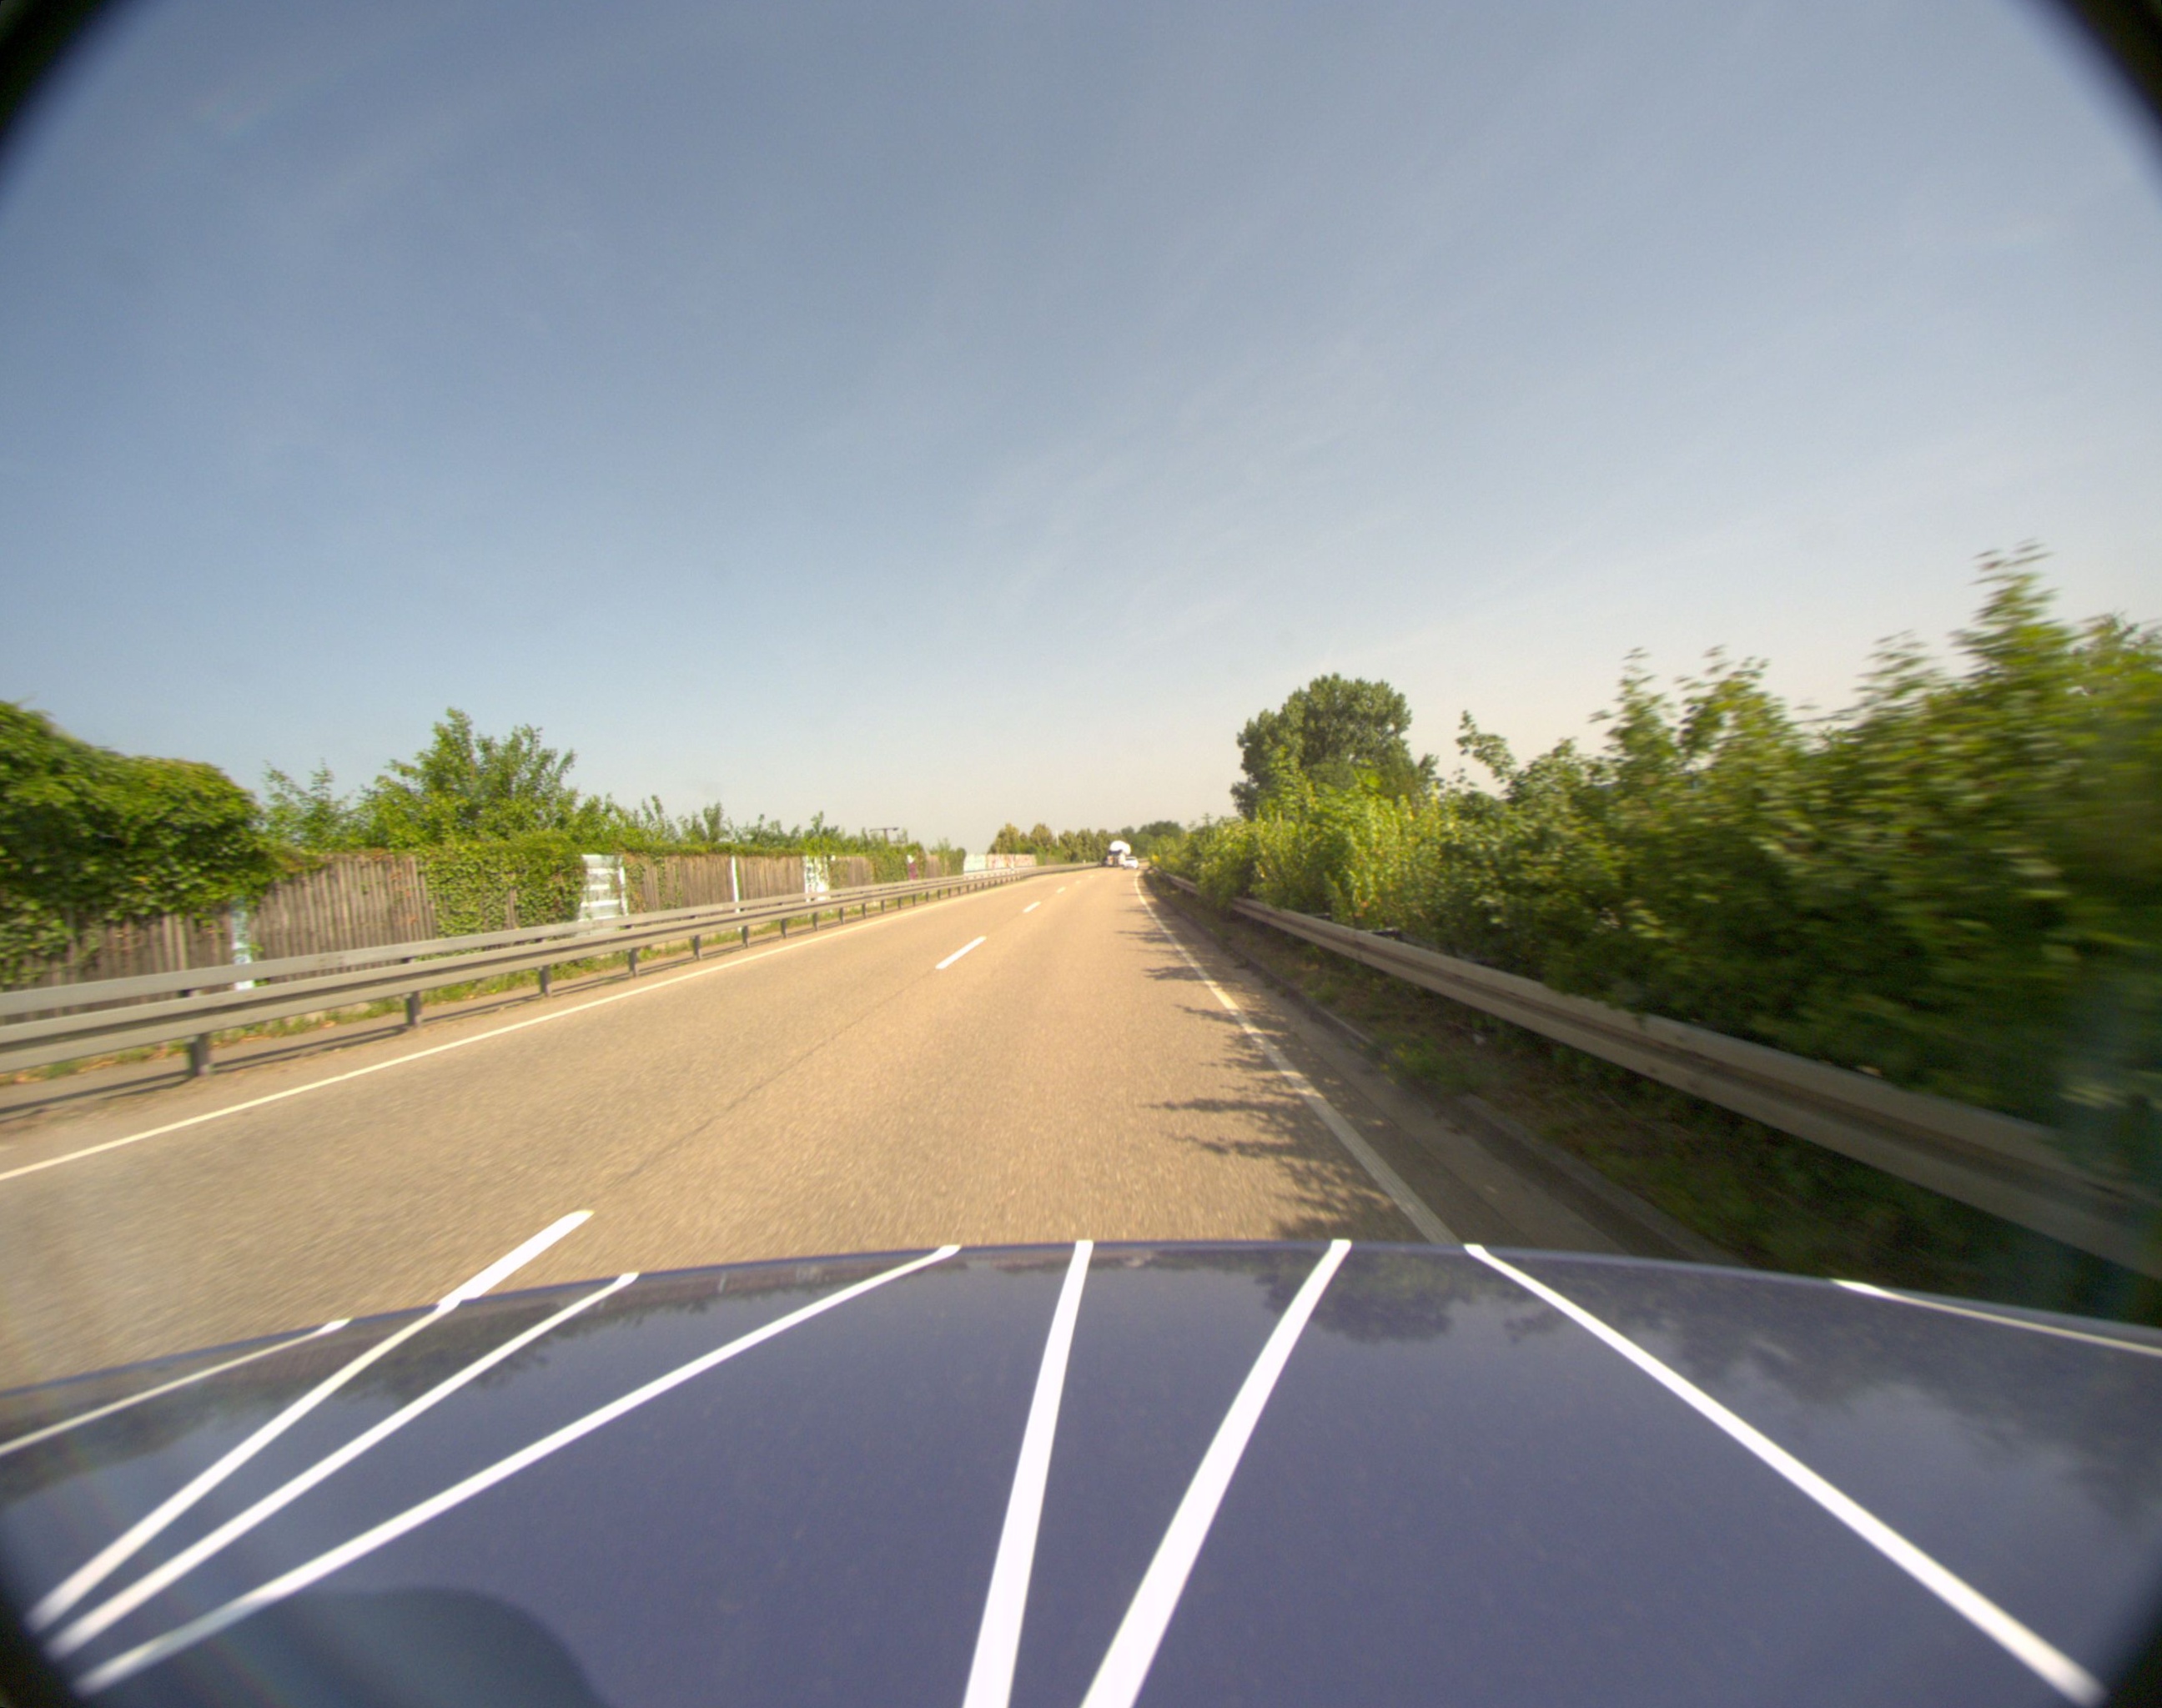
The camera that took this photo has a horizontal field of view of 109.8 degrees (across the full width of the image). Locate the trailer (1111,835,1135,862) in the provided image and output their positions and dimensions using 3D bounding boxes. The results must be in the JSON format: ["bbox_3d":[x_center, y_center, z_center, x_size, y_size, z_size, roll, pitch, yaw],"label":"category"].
[{"bbox_3d":[6.761,-0.890,121.260,2.762,3.968,8.191,-2,1,9],"label":"trailer"}]

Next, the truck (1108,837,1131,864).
[{"bbox_3d":[5.897,-0.616,115.850,2.777,3.939,5.630,-2,1,9],"label":"truck"}]

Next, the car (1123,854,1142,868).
[{"bbox_3d":[6.248,0.804,91.038,1.788,1.427,4.002,-3,1,10],"label":"car"}]
